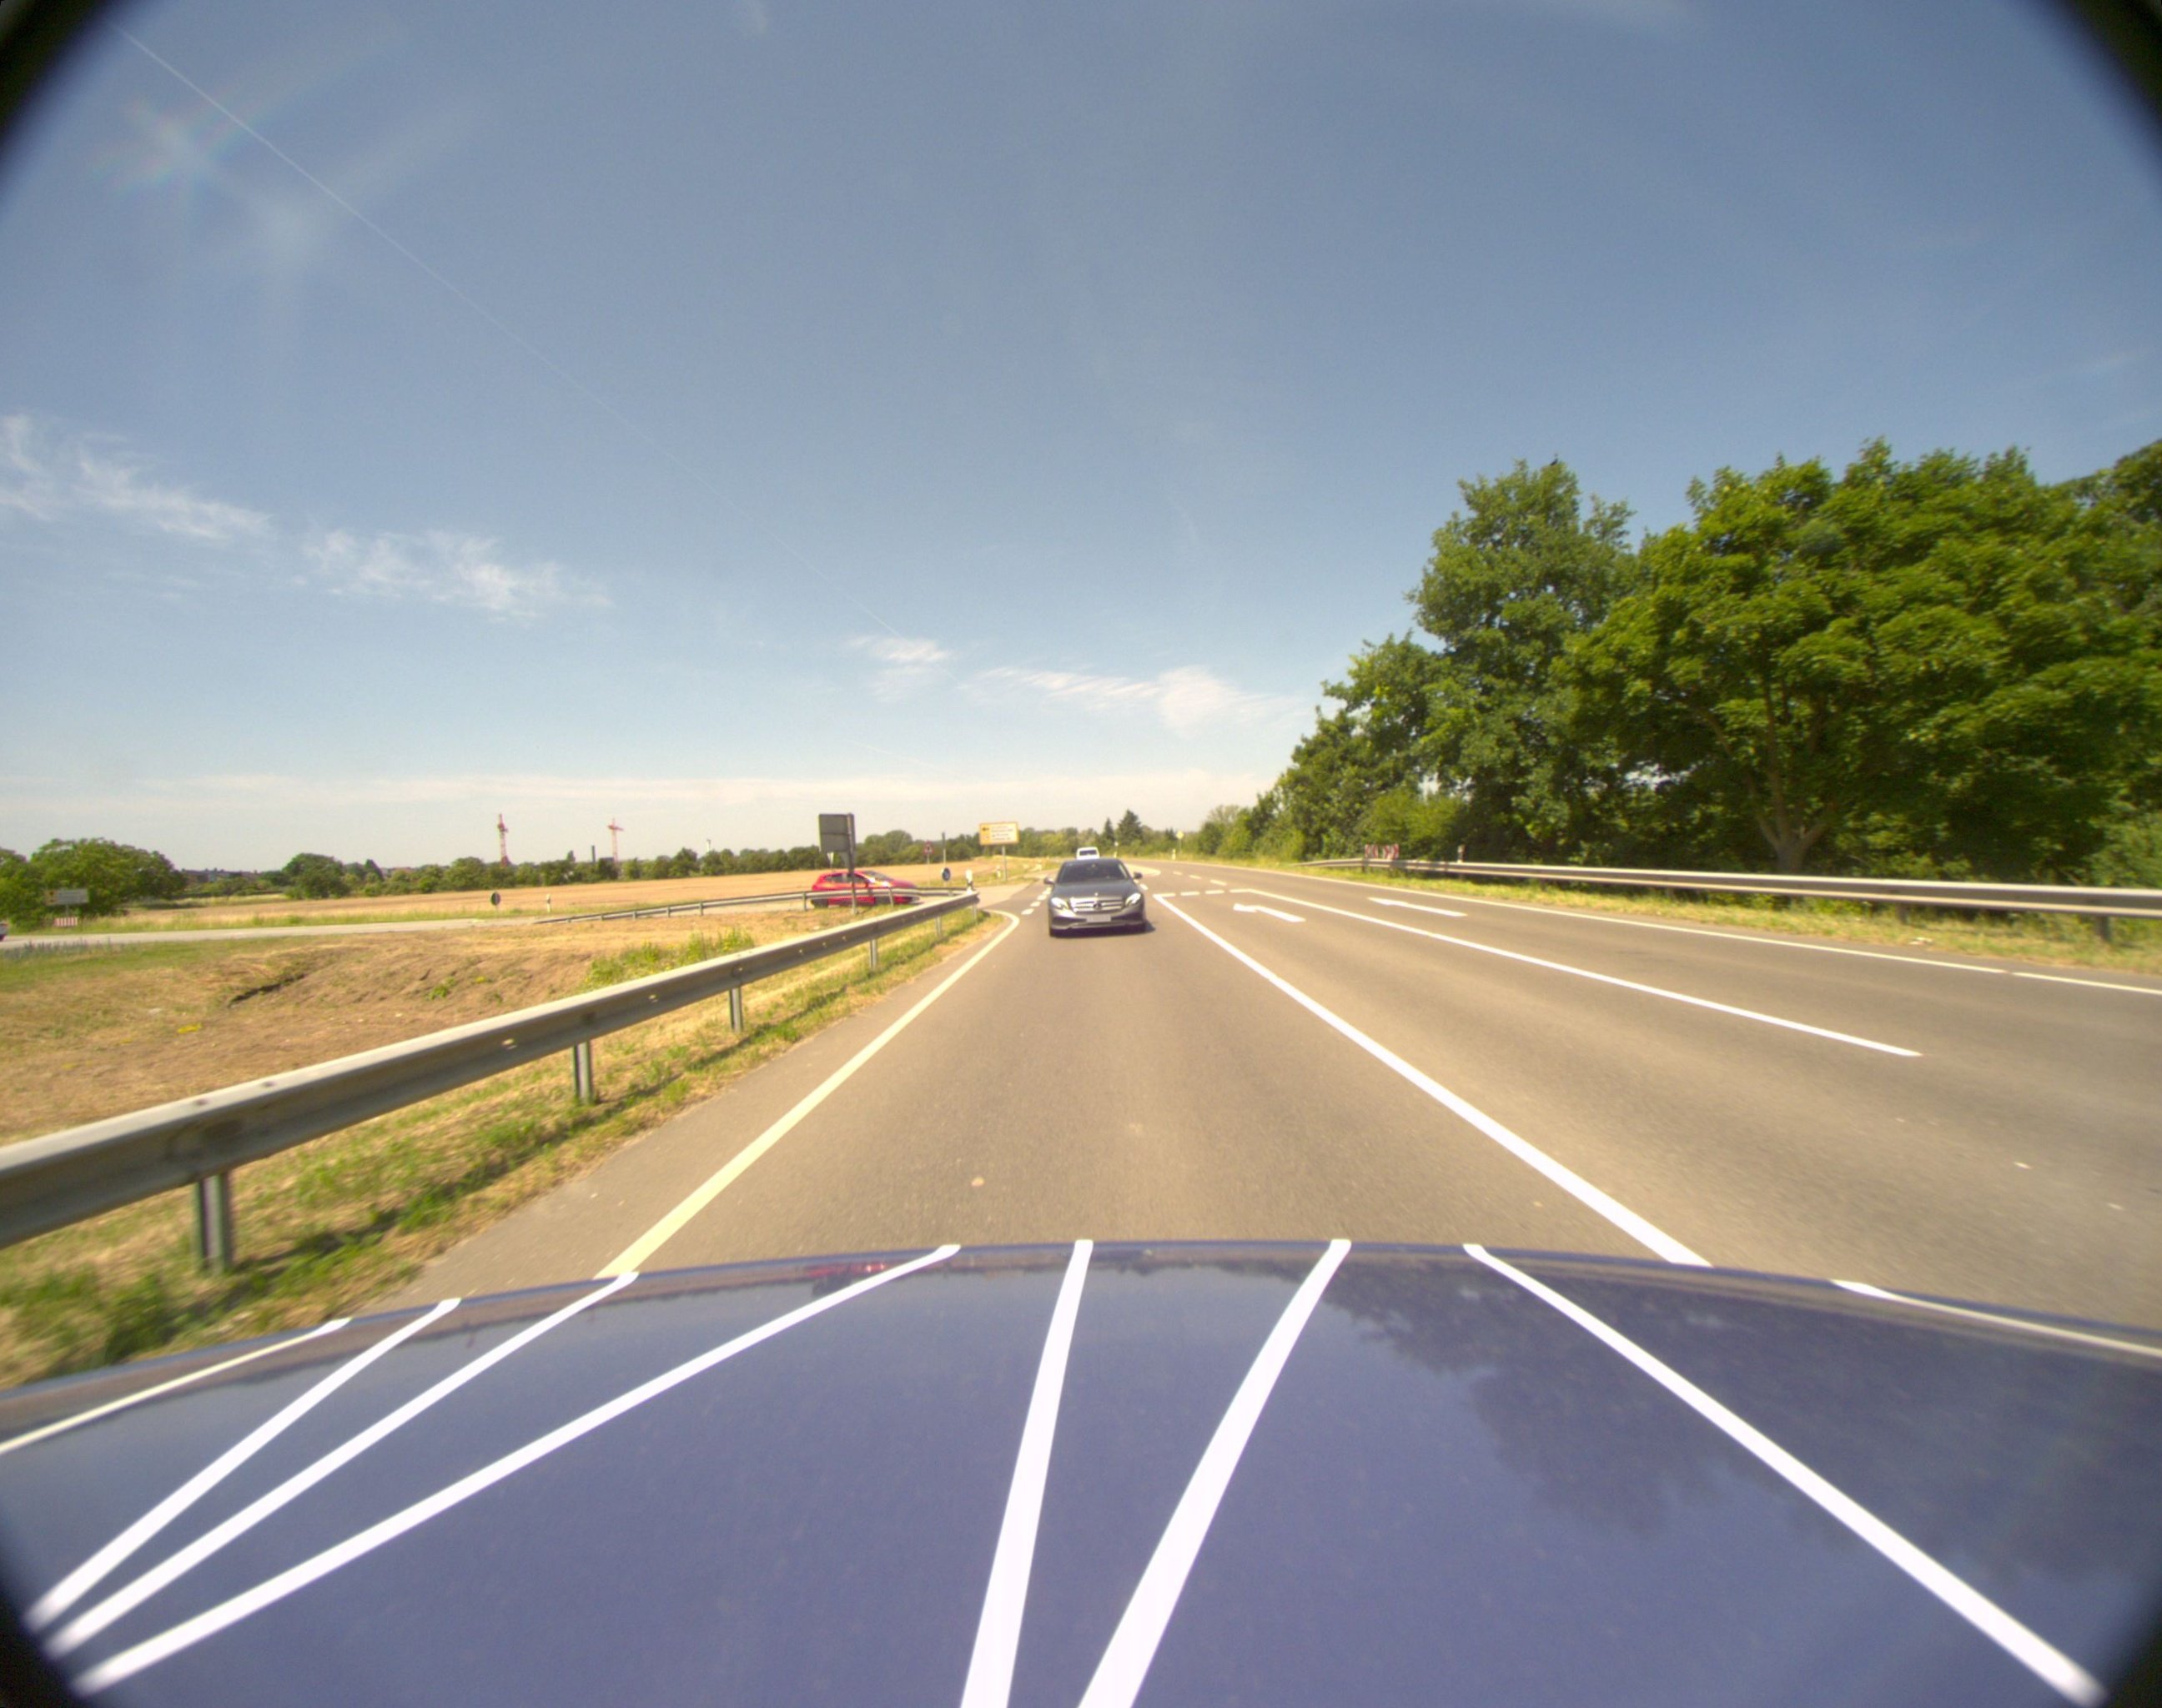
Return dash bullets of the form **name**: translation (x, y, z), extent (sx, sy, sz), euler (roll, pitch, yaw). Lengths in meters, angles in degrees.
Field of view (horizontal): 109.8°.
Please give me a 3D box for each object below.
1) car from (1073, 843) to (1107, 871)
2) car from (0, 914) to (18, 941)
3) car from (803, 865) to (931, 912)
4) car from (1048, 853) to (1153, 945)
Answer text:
- **car**: translation (0.644, 0.211, 62.118), extent (2.180, 2.002, 5.023), euler (-6, 1, -4)
- **car**: translation (-60.929, 4.204, 41.464), extent (4.707, 1.410, 1.843), euler (-5, 1, 16)
- **car**: translation (-7.965, 1.279, 28.344), extent (4.159, 1.410, 1.781), euler (-3, 2, 14)
- **car**: translation (0.486, 0.821, 16.079), extent (1.831, 1.540, 4.499), euler (-3, 0, 3)
